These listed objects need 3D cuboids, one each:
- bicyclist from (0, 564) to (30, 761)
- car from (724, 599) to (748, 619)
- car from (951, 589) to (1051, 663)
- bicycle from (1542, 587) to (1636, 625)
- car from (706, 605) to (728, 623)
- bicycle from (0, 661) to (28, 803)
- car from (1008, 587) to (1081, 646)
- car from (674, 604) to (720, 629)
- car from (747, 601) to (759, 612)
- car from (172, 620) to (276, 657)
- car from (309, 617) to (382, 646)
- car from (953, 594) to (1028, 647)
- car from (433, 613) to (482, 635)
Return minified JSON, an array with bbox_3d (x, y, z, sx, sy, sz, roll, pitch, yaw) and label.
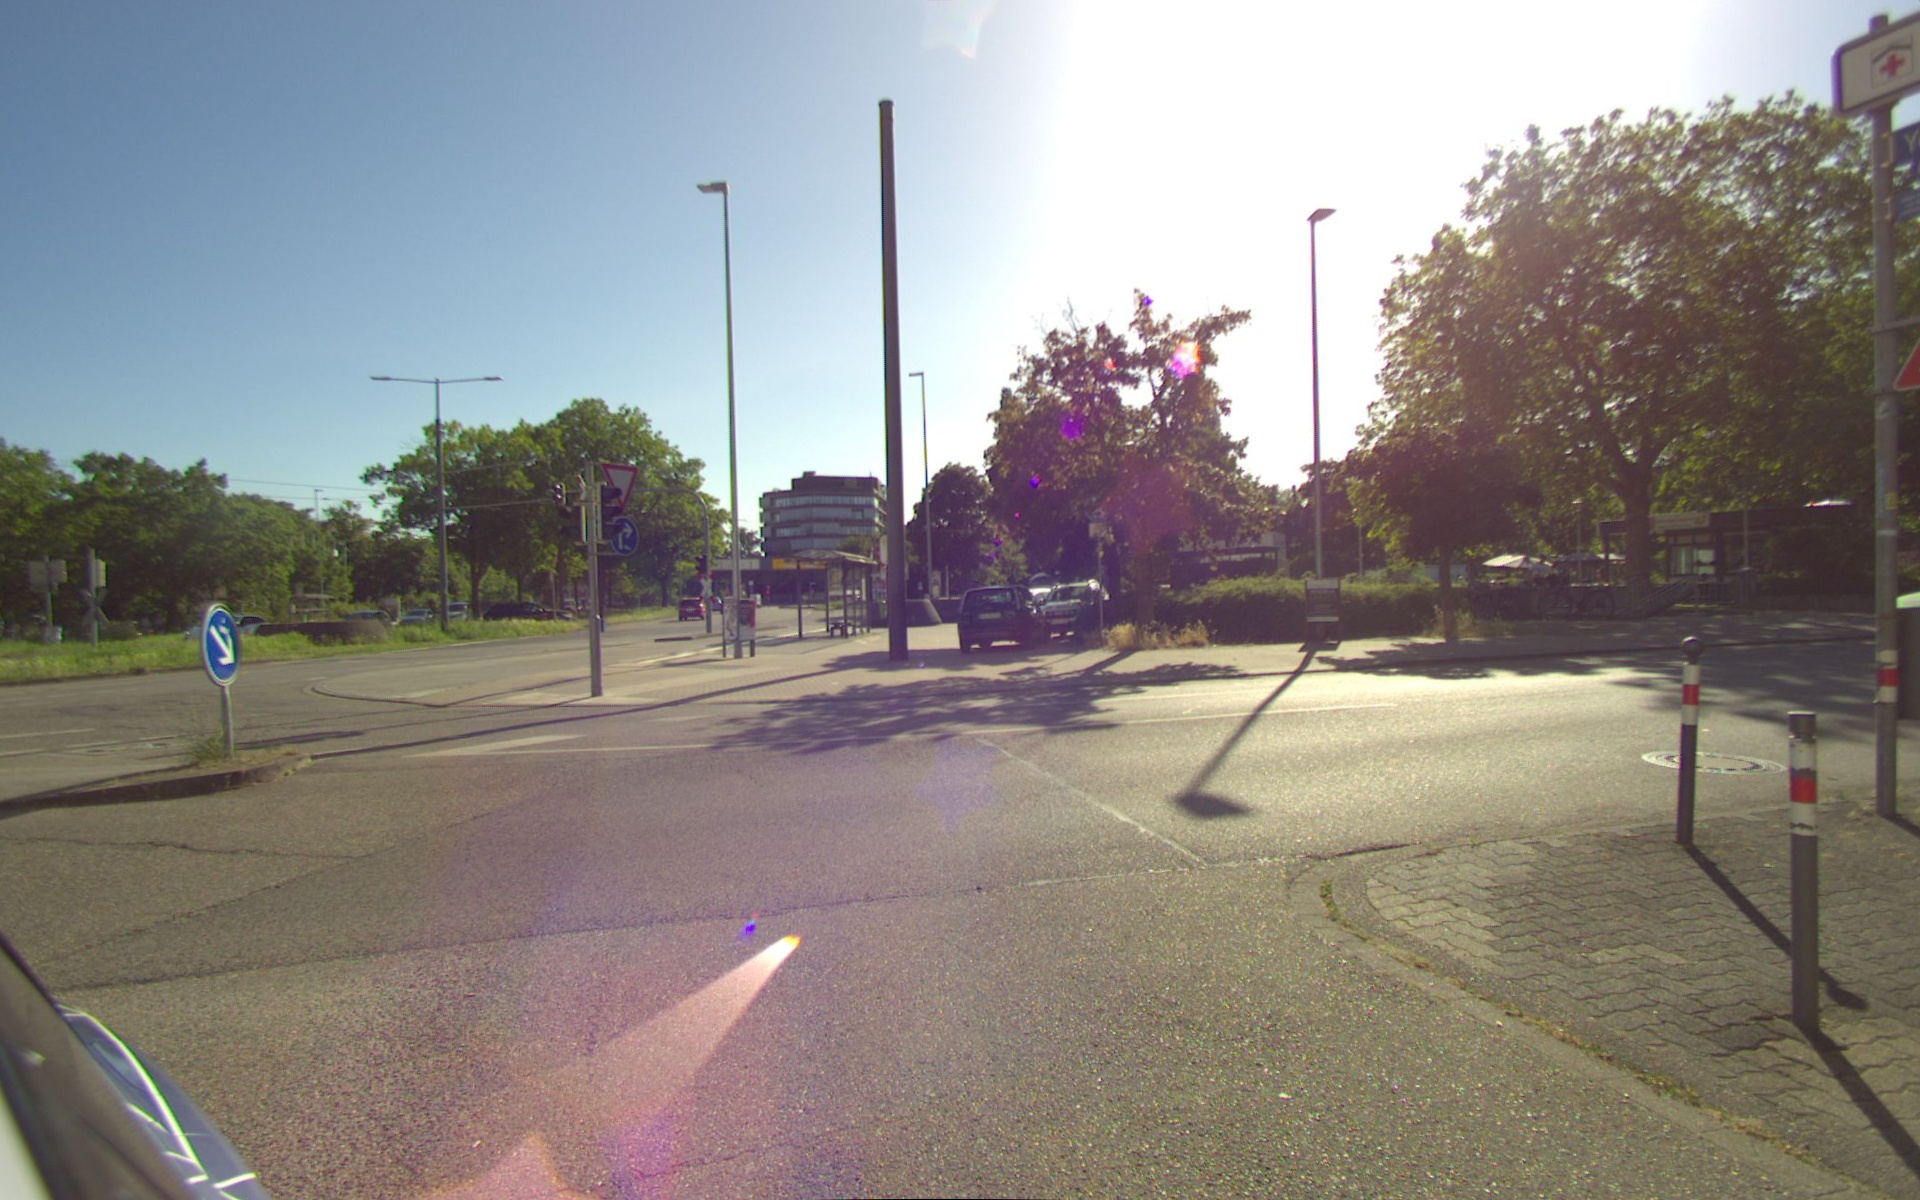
[{"bbox_3d":[-8.067,0.509,8.154,0.815,1.576,0.596,-1,0,-43],"label":"bicyclist"},{"bbox_3d":[-19.444,0.772,87.714,1.967,1.564,4.496,-2,0,-13],"label":"car"},{"bbox_3d":[1.047,0.554,23.872,1.667,1.519,3.582,-4,0,12],"label":"car"},{"bbox_3d":[17.231,0.171,27.789,0.547,0.990,2.320,-1,0,-20],"label":"bicycle"},{"bbox_3d":[-23.689,1.377,98.694,1.966,1.674,4.497,-2,0,-15],"label":"car"},{"bbox_3d":[-7.972,1.033,8.038,0.817,0.994,1.948,-1,0,-43],"label":"bicycle"},{"bbox_3d":[2.588,0.452,30.106,1.780,1.592,3.987,-2,0,10],"label":"car"},{"bbox_3d":[-17.736,1.056,68.386,1.972,1.564,4.485,-2,0,0],"label":"car"},{"bbox_3d":[-37.771,1.209,184.386,1.966,2.029,4.011,-1,0,-14],"label":"car"},{"bbox_3d":[-32.867,1.693,45.373,1.844,1.466,4.492,-2,0,-8],"label":"car"},{"bbox_3d":[-34.809,1.764,57.460,1.844,1.466,4.492,-2,0,-8],"label":"car"},{"bbox_3d":[1.010,0.596,31.709,1.667,1.519,3.582,-2,0,12],"label":"car"},{"bbox_3d":[-37.321,1.747,75.247,1.844,1.466,4.492,-2,0,-8],"label":"car"}]
